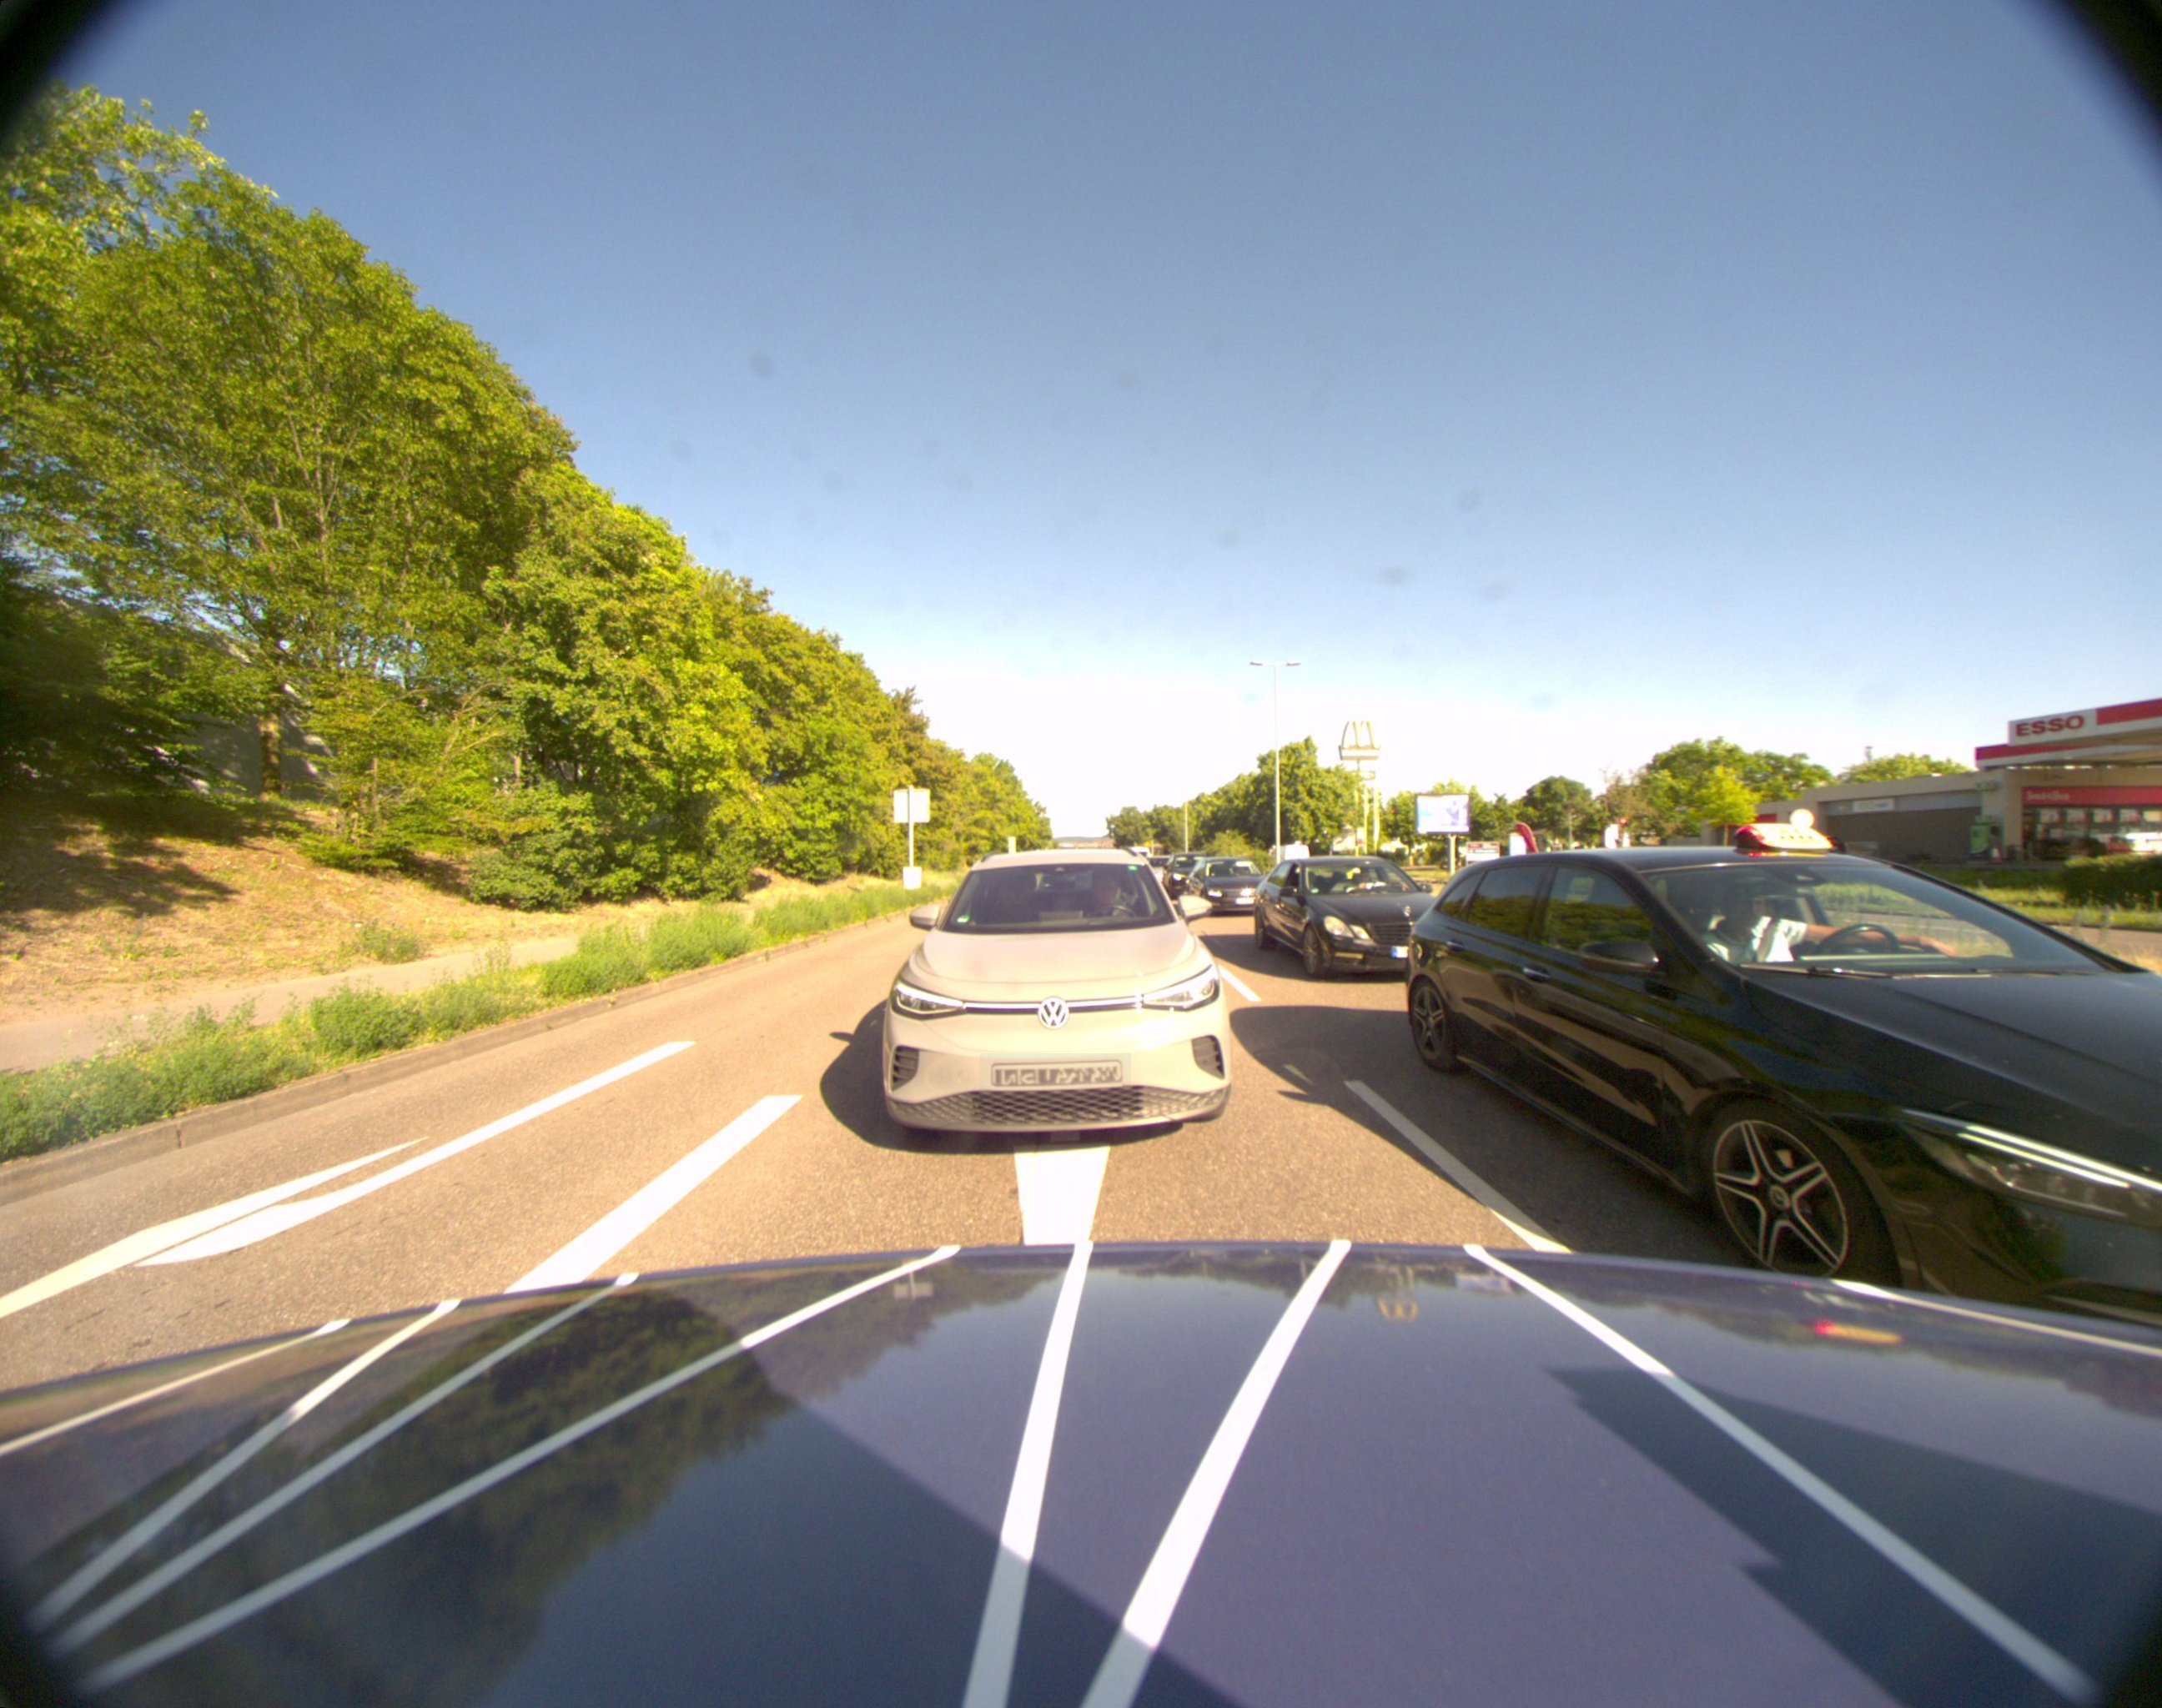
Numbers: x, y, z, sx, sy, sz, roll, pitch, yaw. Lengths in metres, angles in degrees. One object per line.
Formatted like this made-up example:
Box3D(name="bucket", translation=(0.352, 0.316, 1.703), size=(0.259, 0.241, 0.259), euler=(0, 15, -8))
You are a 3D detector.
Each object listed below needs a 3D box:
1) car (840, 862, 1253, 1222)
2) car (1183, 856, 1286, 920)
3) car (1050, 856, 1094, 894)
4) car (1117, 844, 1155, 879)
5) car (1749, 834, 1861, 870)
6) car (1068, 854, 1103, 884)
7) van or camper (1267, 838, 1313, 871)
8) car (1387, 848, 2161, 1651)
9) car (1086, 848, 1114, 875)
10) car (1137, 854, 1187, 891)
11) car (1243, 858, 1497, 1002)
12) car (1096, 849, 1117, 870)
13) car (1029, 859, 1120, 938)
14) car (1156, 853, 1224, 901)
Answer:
Box3D(name="car", translation=(-0.133, 0.895, 5.487), size=(1.871, 1.588, 3.932), euler=(-2, 0, 1))
Box3D(name="car", translation=(3.946, 0.823, 20.259), size=(1.862, 1.472, 4.403), euler=(-1, 0, 1))
Box3D(name="car", translation=(-0.344, 0.881, 33.210), size=(1.765, 1.503, 3.760), euler=(-2, 0, 1))
Box3D(name="car", translation=(3.741, 0.479, 52.492), size=(2.289, 2.274, 5.381), euler=(-1, 0, 1))
Box3D(name="car", translation=(37.705, -0.098, 39.727), size=(1.998, 1.759, 4.118), euler=(-2, 0, 2))
Box3D(name="car", translation=(0.268, 0.777, 40.732), size=(1.765, 1.503, 3.760), euler=(-1, 0, 1))
Box3D(name="van or camper", translation=(17.303, -0.009, 63.264), size=(2.183, 2.557, 6.755), euler=(-1, 0, 3))
Box3D(name="car", translation=(3.154, 0.805, 3.592), size=(1.804, 1.616, 4.188), euler=(-1, 0, 2))
Box3D(name="car", translation=(1.632, 0.623, 66.126), size=(2.289, 2.274, 5.381), euler=(-1, 0, 1))
Box3D(name="car", translation=(3.680, 0.795, 35.180), size=(1.862, 1.578, 4.403), euler=(-1, 0, 1))
Box3D(name="car", translation=(3.634, 0.846, 10.518), size=(1.862, 1.515, 4.403), euler=(-1, 0, 1))
Box3D(name="car", translation=(2.959, 0.623, 87.943), size=(2.289, 2.274, 5.381), euler=(-1, 0, 1))
Box3D(name="car", translation=(-0.111, 0.893, 16.968), size=(1.765, 1.503, 3.760), euler=(-2, 0, 1))
Box3D(name="car", translation=(3.875, 0.770, 27.668), size=(1.862, 1.578, 4.403), euler=(-1, 0, 1))
